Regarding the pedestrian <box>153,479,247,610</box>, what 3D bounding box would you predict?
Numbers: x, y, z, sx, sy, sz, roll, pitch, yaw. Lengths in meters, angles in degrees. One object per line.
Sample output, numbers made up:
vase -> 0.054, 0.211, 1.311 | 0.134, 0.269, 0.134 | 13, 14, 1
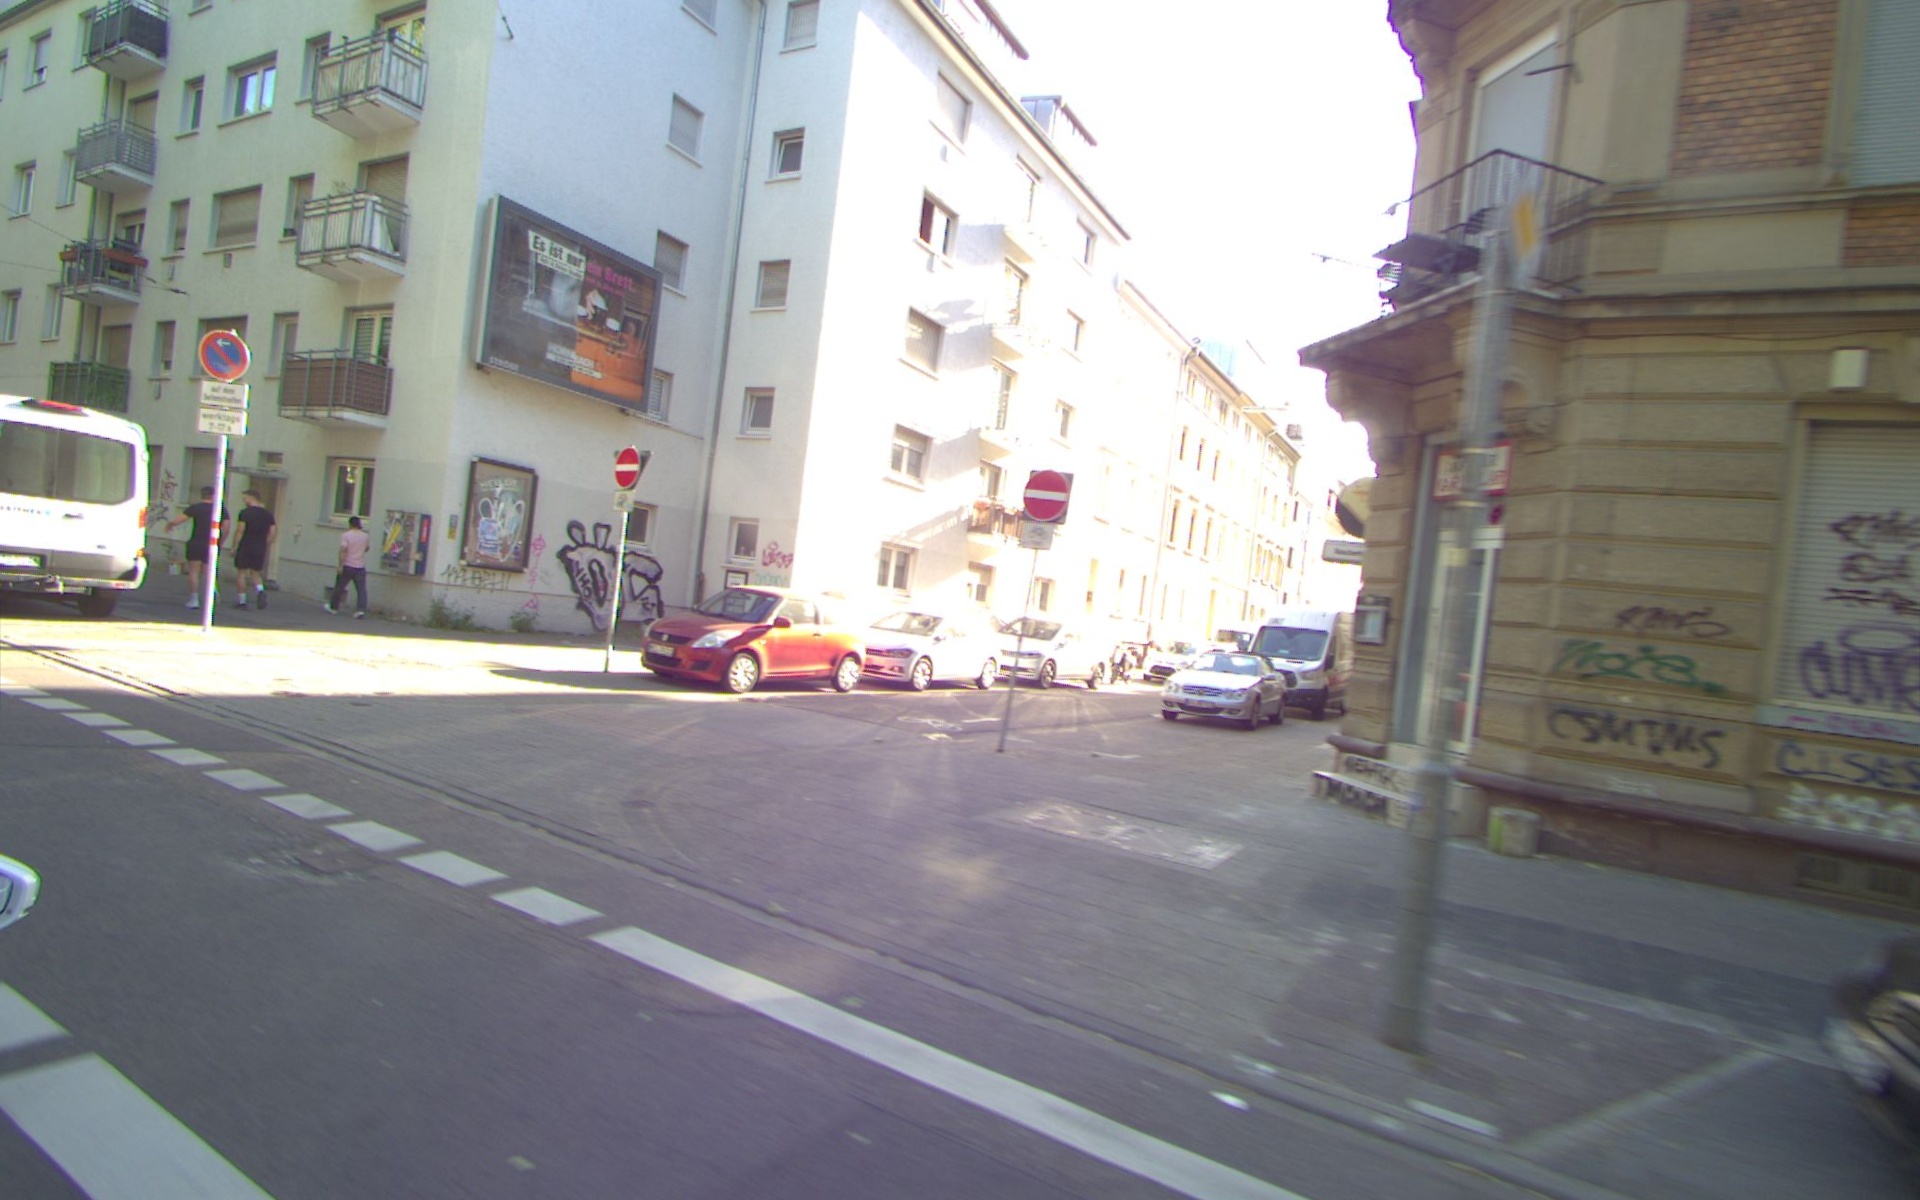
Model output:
pedestrian -> -11.494, -0.834, 15.215 | 1.064, 1.846, 0.710 | 6, 2, 32

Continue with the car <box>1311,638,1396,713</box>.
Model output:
car -> 12.094, 2.285, 30.757 | 1.744, 1.888, 4.673 | 7, 0, 28

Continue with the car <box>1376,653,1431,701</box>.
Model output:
car -> 19.795, 3.423, 44.821 | 1.688, 1.816, 4.191 | 7, 0, 29

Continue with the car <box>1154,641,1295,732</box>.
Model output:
car -> 5.256, 1.640, 19.627 | 1.671, 1.394, 3.995 | 7, 0, 28

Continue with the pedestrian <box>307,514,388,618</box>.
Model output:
pedestrian -> -10.215, -0.570, 16.781 | 0.917, 1.599, 0.633 | 6, -1, 32

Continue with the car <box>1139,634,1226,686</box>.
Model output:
car -> 7.394, 2.006, 33.146 | 1.633, 1.423, 4.146 | 7, -1, 28

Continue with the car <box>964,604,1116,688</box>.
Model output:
car -> 2.001, 1.151, 23.964 | 1.760, 1.656, 4.253 | 7, -1, 31

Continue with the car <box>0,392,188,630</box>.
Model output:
car -> -12.825, -1.255, 13.063 | 5.985, 2.526, 2.152 | 7, 0, 30

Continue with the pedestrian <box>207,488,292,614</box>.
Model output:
pedestrian -> -11.148, -0.769, 15.791 | 1.064, 1.846, 0.625 | 6, 2, 32

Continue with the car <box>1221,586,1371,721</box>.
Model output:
car -> 8.599, 1.379, 25.341 | 2.203, 2.810, 5.534 | 7, 0, 31

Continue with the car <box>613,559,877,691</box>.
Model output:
car -> -3.129, 0.449, 15.317 | 1.760, 1.593, 3.655 | 8, 0, 31

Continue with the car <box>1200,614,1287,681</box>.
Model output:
car -> 12.065, 2.048, 42.503 | 2.111, 2.428, 5.641 | 7, 0, 29

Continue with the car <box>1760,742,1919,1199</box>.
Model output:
car -> 4.857, 1.486, 2.591 | 3.989, 1.439, 1.651 | 6, 2, 27

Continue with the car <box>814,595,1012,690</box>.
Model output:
car -> -0.781, 0.873, 19.354 | 1.760, 1.473, 4.031 | 7, -1, 31
